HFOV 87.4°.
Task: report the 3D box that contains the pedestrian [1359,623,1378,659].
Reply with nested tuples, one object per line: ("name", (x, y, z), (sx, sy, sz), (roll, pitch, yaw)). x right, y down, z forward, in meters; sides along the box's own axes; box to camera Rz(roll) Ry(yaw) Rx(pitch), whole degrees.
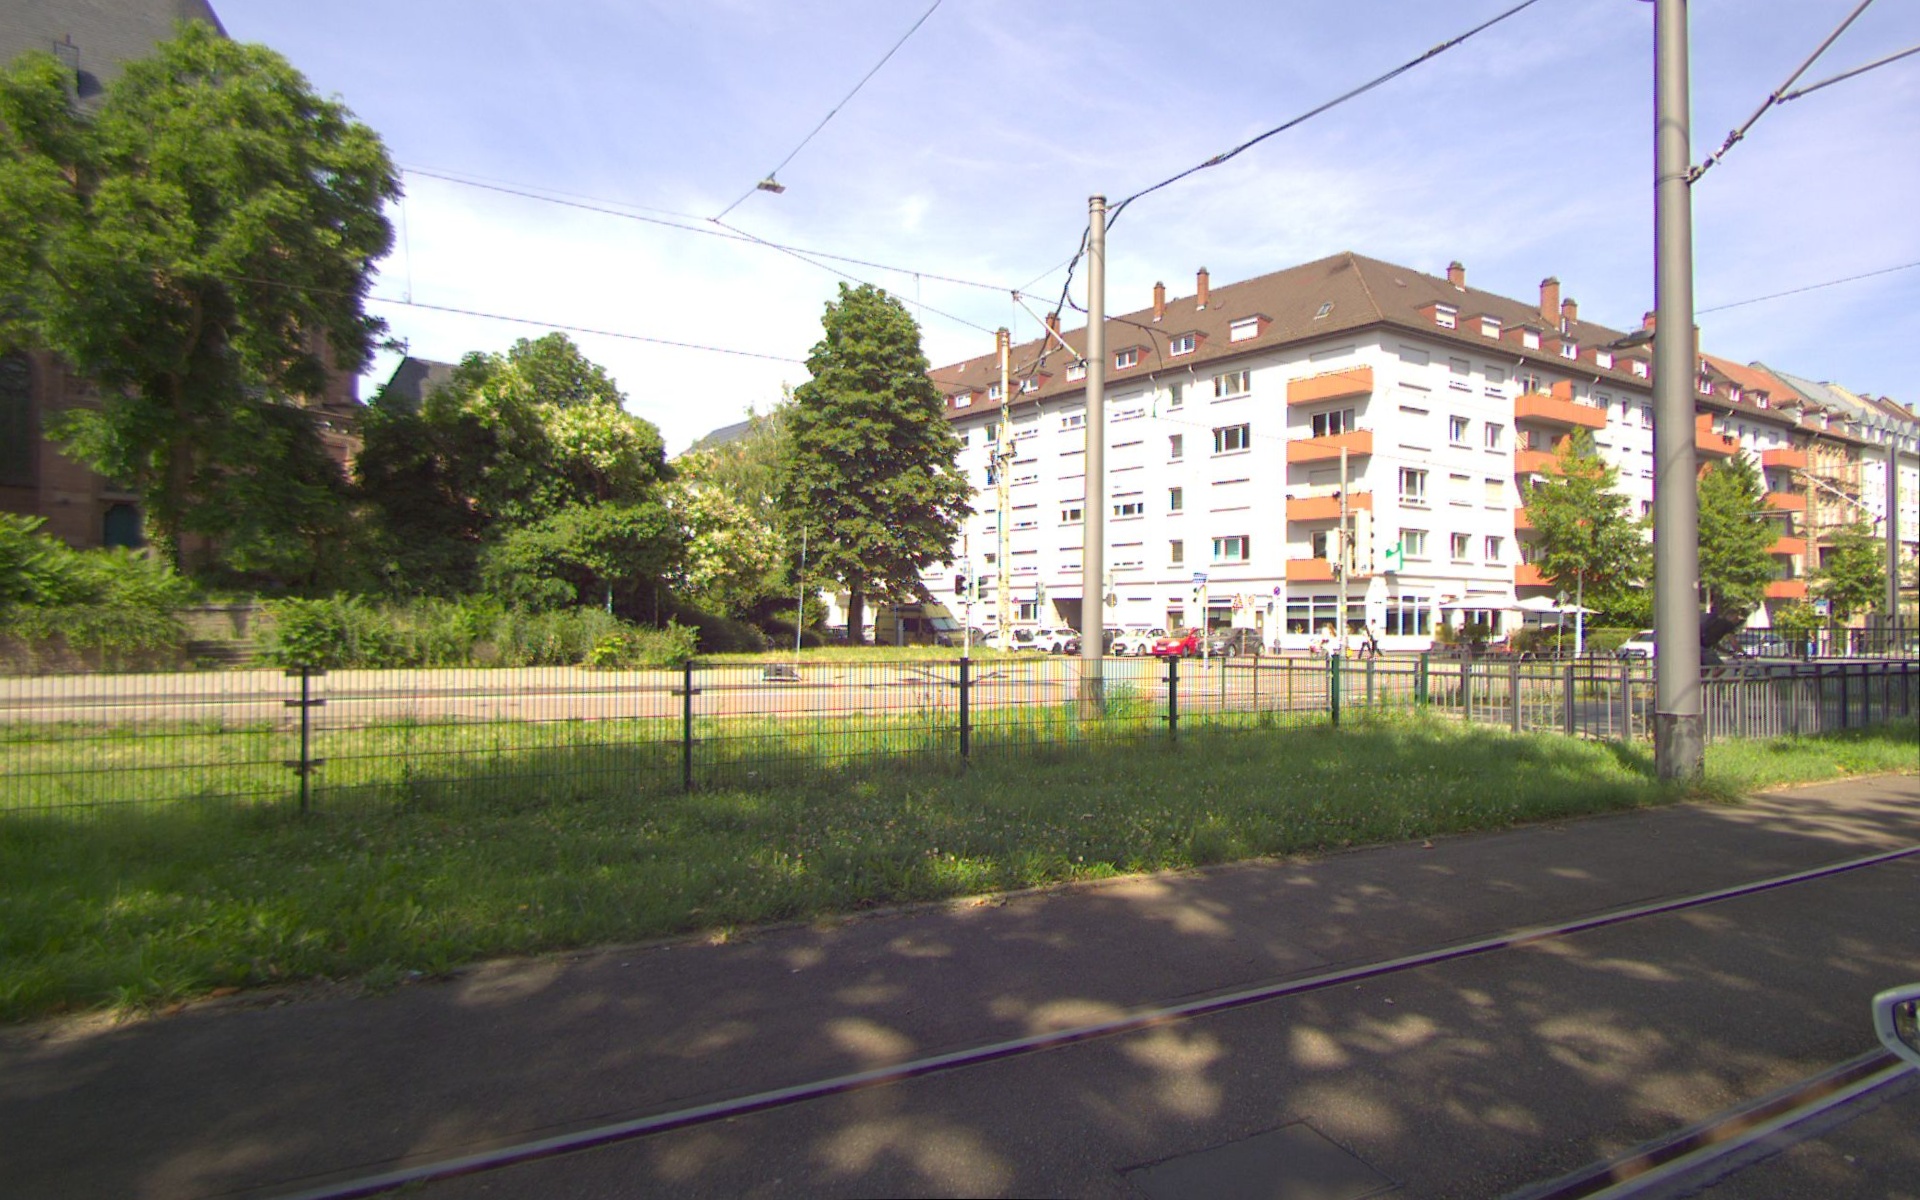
("pedestrian", (18.291, 1.832, 44.992), (0.679, 1.593, 0.544), (0, -1, 36))

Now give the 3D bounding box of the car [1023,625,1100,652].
("car", (5.636, 2.092, 55.602), (4.129, 1.425, 1.917), (1, -2, -38))

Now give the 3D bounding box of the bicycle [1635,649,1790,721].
("bicycle", (11.882, 1.328, 15.924), (1.889, 1.063, 0.532), (0, -1, 22))

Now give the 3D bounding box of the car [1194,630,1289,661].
("car", (13.161, 2.084, 46.818), (4.598, 1.394, 1.821), (1, -2, -36))

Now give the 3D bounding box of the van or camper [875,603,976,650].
("van or camper", (-1.898, 1.384, 53.043), (2.228, 2.360, 5.704), (1, -2, -42))

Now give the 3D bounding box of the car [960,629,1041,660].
("car", (1.932, 2.137, 48.650), (3.702, 1.425, 1.823), (-1, -2, 44))

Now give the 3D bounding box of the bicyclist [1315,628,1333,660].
("bicyclist", (16.927, 2.031, 46.705), (0.616, 1.442, 0.587), (-1, -1, 44))

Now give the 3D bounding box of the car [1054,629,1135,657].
("car", (7.158, 2.266, 53.287), (4.129, 1.425, 1.917), (1, -2, -38))

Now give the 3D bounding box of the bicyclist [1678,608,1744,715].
("bicyclist", (11.898, 0.955, 15.934), (0.681, 1.644, 0.624), (0, -1, 21))

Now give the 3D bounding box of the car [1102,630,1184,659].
("car", (9.448, 2.266, 51.724), (4.129, 1.425, 1.918), (1, -2, -38))

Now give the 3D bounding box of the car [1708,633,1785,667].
("car", (36.324, 2.283, 46.380), (3.961, 1.518, 1.759), (1, -3, -36))

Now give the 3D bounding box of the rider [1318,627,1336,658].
("rider", (17.294, 2.010, 47.292), (0.616, 1.442, 0.587), (-1, -1, 44))

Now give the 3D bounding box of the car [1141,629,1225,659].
("car", (10.992, 2.136, 49.410), (4.129, 1.425, 1.918), (1, -2, -38))

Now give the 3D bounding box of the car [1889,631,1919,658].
("car", (54.511, 2.506, 57.110), (3.961, 1.518, 1.758), (1, -2, -36))

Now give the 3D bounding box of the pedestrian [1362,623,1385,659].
("pedestrian", (18.708, 1.838, 45.473), (0.846, 1.593, 0.688), (0, -1, 36))

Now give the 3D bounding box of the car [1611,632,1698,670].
("car", (29.059, 2.116, 42.005), (3.961, 1.518, 1.759), (1, -3, -36))

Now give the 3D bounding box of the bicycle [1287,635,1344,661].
("bicycle", (15.924, 2.130, 44.954), (2.779, 1.152, 0.905), (1, -2, -34))
